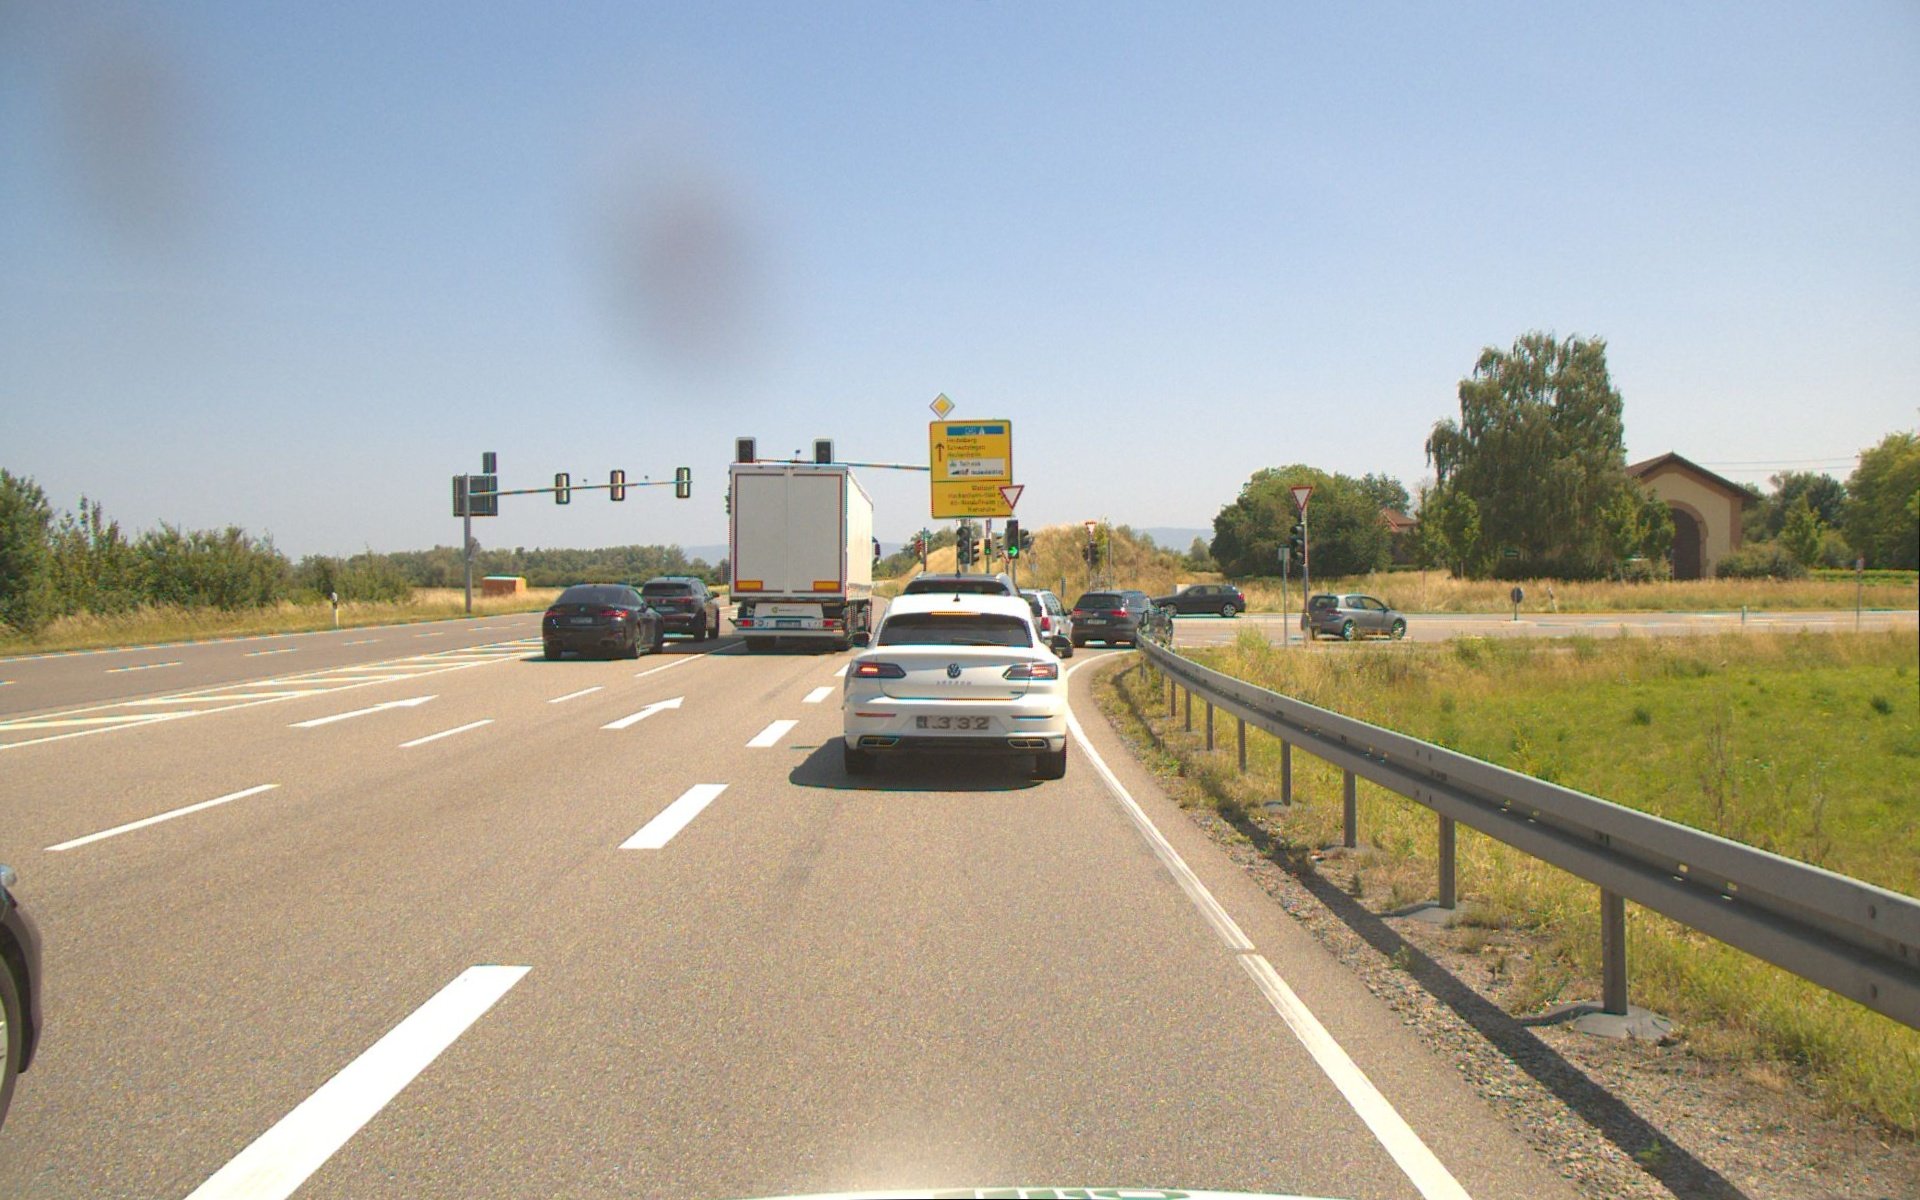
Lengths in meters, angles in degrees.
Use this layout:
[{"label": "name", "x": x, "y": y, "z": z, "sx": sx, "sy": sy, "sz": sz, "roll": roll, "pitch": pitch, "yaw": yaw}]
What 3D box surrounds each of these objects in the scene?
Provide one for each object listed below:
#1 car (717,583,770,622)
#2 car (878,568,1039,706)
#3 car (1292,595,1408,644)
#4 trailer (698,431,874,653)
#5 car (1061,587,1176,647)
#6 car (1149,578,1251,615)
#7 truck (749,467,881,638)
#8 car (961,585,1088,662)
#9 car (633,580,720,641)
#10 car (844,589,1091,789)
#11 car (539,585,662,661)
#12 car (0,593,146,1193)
[{"label": "car", "x": -8.693, "y": 0.090, "z": 66.778, "sx": 1.773, "sy": 1.519, "sz": 4.019, "roll": 1, "pitch": 0, "yaw": -3}, {"label": "car", "x": 0.088, "y": 0.439, "z": 22.023, "sx": 1.894, "sy": 1.644, "sz": 4.380, "roll": 0, "pitch": 0, "yaw": 3}, {"label": "car", "x": 12.759, "y": 0.630, "z": 54.043, "sx": 3.846, "sy": 1.548, "sz": 1.780, "roll": 0, "pitch": 0, "yaw": -40}, {"label": "trailer", "x": -3.977, "y": -1.260, "z": 41.140, "sx": 3.313, "sy": 4.622, "sz": 12.868, "roll": 1, "pitch": 0, "yaw": -2}, {"label": "car", "x": 4.226, "y": 0.424, "z": 43.510, "sx": 1.763, "sy": 1.502, "sz": 4.413, "roll": 0, "pitch": 0, "yaw": 23}, {"label": "car", "x": 10.357, "y": -0.165, "z": 71.679, "sx": 4.172, "sy": 1.392, "sz": 1.777, "roll": 2, "pitch": 2, "yaw": 2}, {"label": "truck", "x": -4.128, "y": -1.314, "z": 48.394, "sx": 3.312, "sy": 4.622, "sz": 6.371, "roll": 1, "pitch": 0, "yaw": -1}, {"label": "car", "x": 1.372, "y": 0.438, "z": 33.631, "sx": 1.761, "sy": 1.454, "sz": 4.096, "roll": 0, "pitch": 0, "yaw": 14}, {"label": "car", "x": -7.461, "y": 0.262, "z": 43.878, "sx": 1.773, "sy": 1.519, "sz": 4.019, "roll": 1, "pitch": 0, "yaw": -3}, {"label": "car", "x": 0.028, "y": 0.651, "z": 14.459, "sx": 1.810, "sy": 1.458, "sz": 4.607, "roll": 0, "pitch": 0, "yaw": -1}, {"label": "car", "x": -7.255, "y": 0.433, "z": 33.706, "sx": 1.773, "sy": 1.423, "sz": 4.019, "roll": 1, "pitch": 0, "yaw": -3}, {"label": "car", "x": -3.195, "y": 0.730, "z": 2.548, "sx": 1.748, "sy": 1.455, "sz": 4.380, "roll": 1, "pitch": 1, "yaw": -1}]
